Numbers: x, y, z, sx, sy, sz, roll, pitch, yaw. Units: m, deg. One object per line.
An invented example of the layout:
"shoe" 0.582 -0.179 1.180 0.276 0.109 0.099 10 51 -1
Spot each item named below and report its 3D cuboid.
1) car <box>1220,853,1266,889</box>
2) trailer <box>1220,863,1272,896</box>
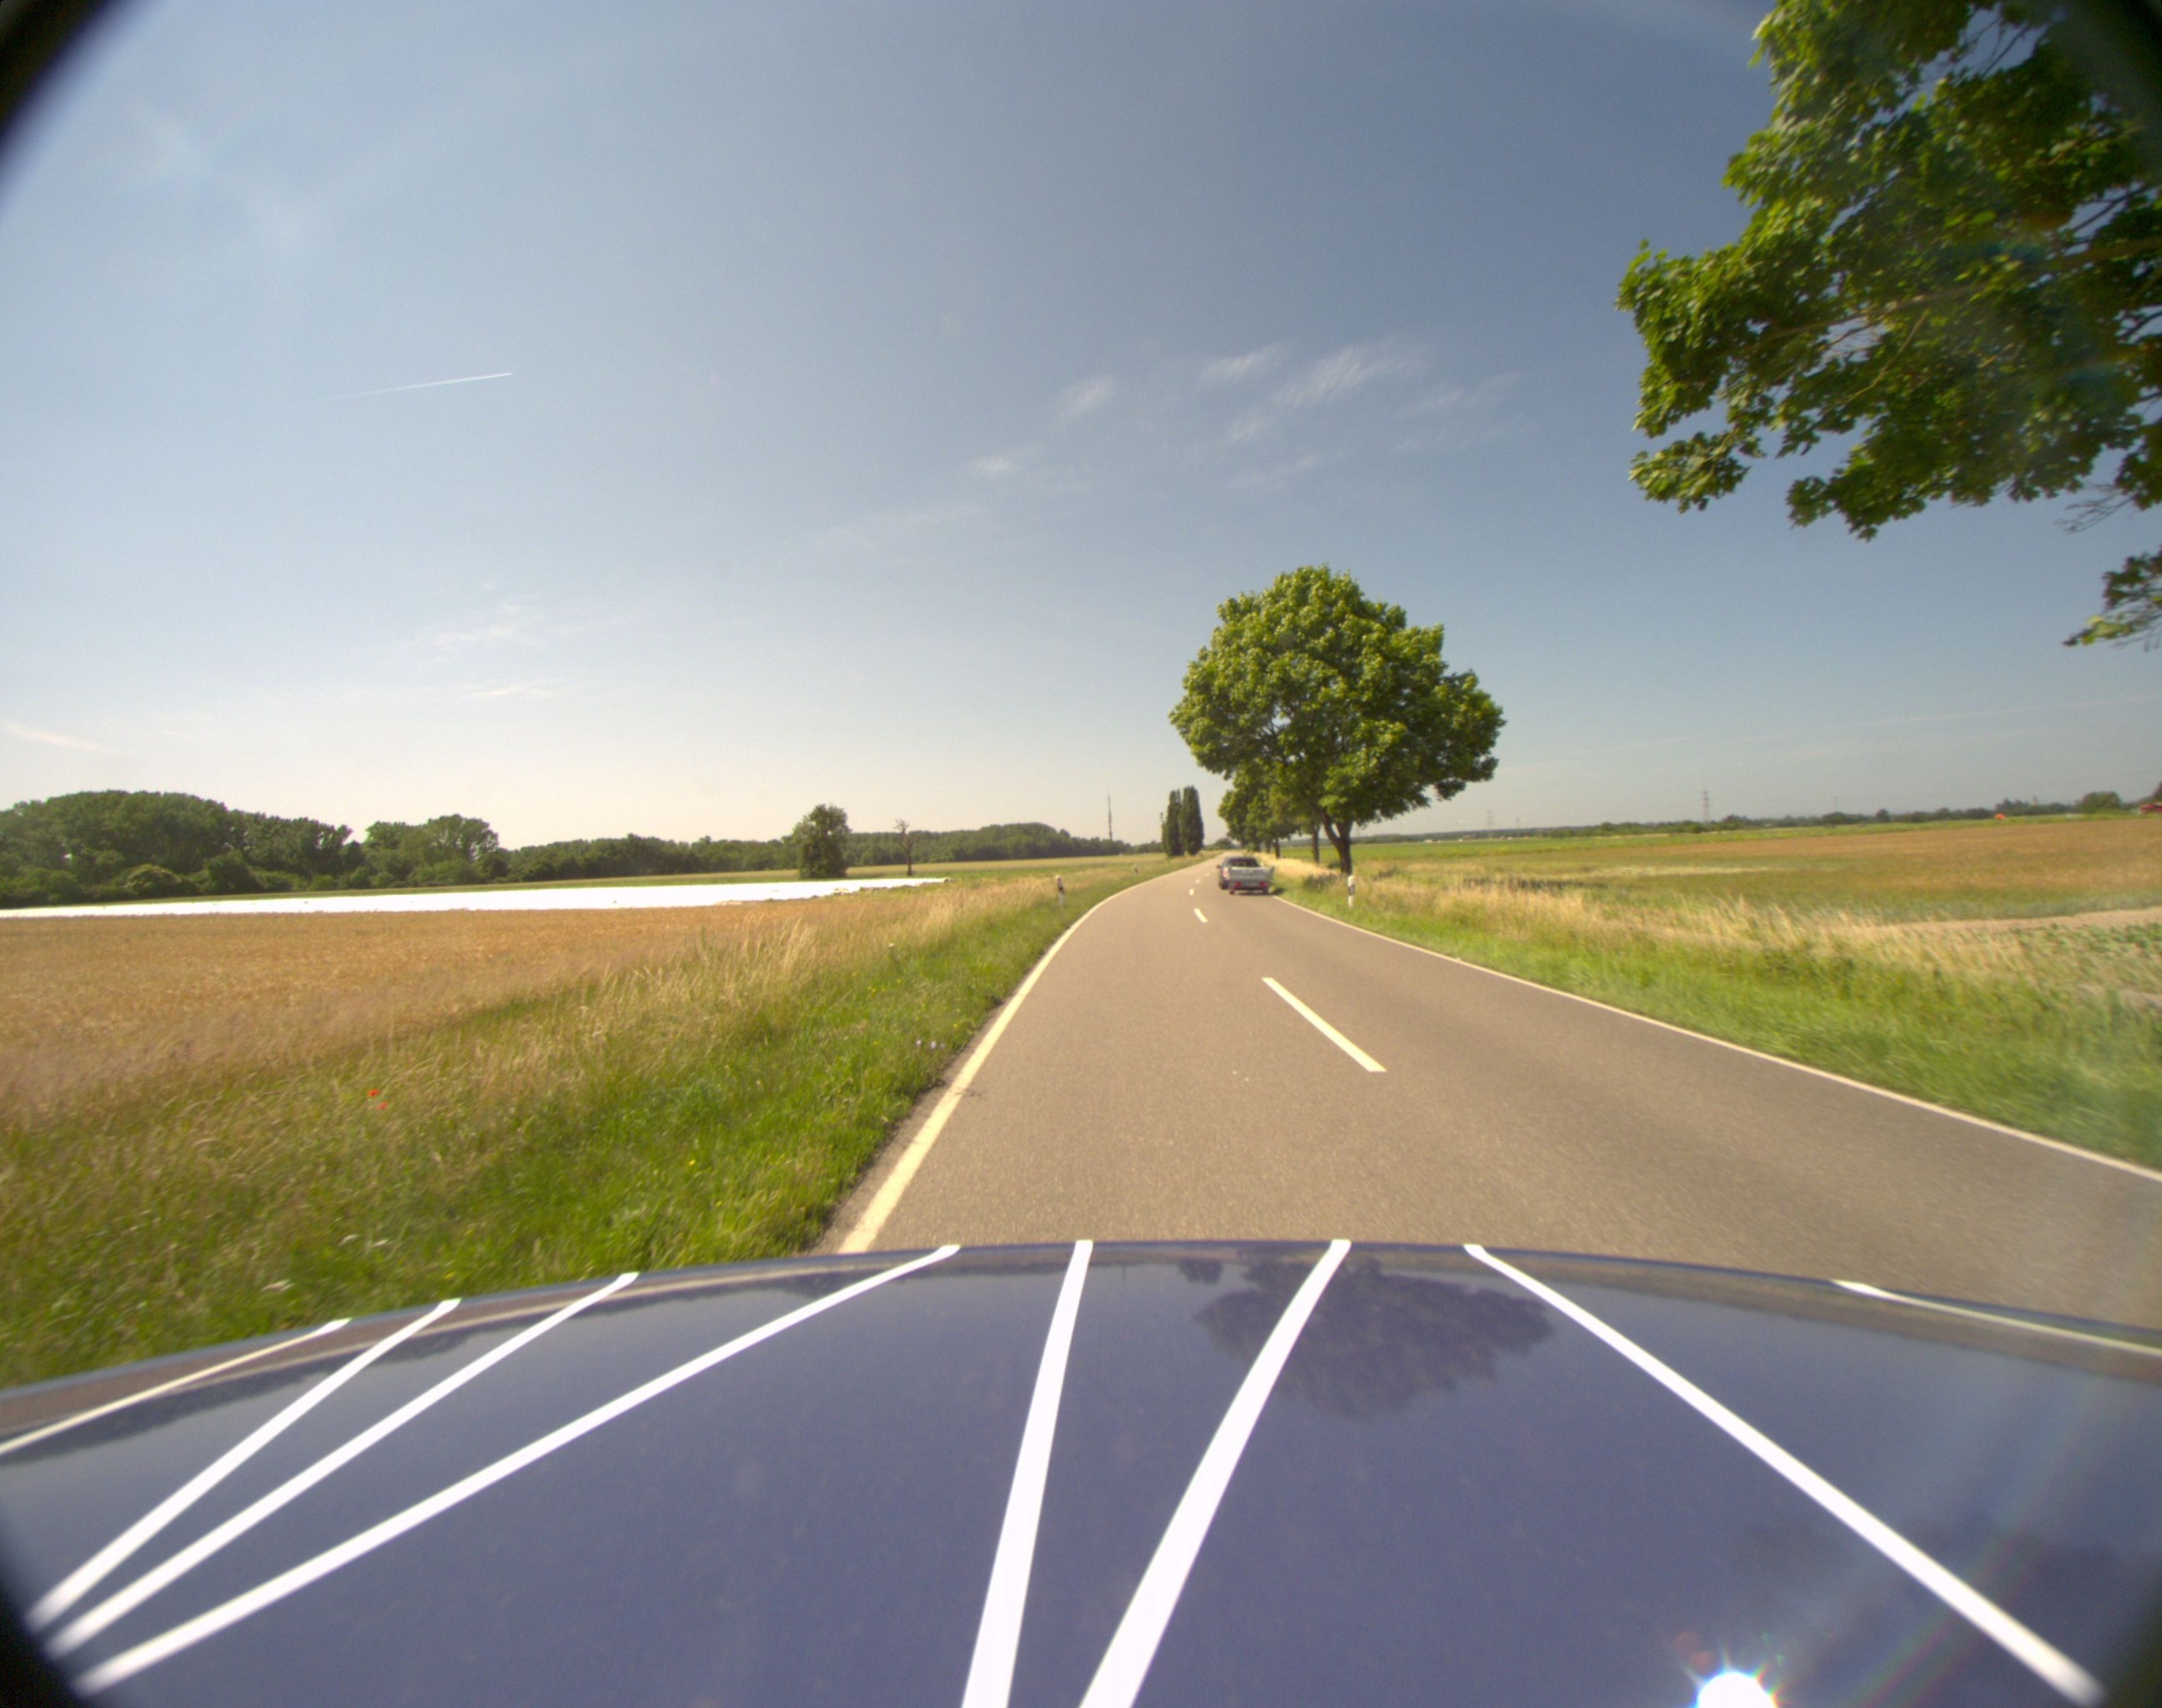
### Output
"car" 7.050 0.702 33.439 1.647 1.421 4.182 -1 0 8
"trailer" 6.310 0.942 29.338 1.625 1.059 4.121 -1 0 8
